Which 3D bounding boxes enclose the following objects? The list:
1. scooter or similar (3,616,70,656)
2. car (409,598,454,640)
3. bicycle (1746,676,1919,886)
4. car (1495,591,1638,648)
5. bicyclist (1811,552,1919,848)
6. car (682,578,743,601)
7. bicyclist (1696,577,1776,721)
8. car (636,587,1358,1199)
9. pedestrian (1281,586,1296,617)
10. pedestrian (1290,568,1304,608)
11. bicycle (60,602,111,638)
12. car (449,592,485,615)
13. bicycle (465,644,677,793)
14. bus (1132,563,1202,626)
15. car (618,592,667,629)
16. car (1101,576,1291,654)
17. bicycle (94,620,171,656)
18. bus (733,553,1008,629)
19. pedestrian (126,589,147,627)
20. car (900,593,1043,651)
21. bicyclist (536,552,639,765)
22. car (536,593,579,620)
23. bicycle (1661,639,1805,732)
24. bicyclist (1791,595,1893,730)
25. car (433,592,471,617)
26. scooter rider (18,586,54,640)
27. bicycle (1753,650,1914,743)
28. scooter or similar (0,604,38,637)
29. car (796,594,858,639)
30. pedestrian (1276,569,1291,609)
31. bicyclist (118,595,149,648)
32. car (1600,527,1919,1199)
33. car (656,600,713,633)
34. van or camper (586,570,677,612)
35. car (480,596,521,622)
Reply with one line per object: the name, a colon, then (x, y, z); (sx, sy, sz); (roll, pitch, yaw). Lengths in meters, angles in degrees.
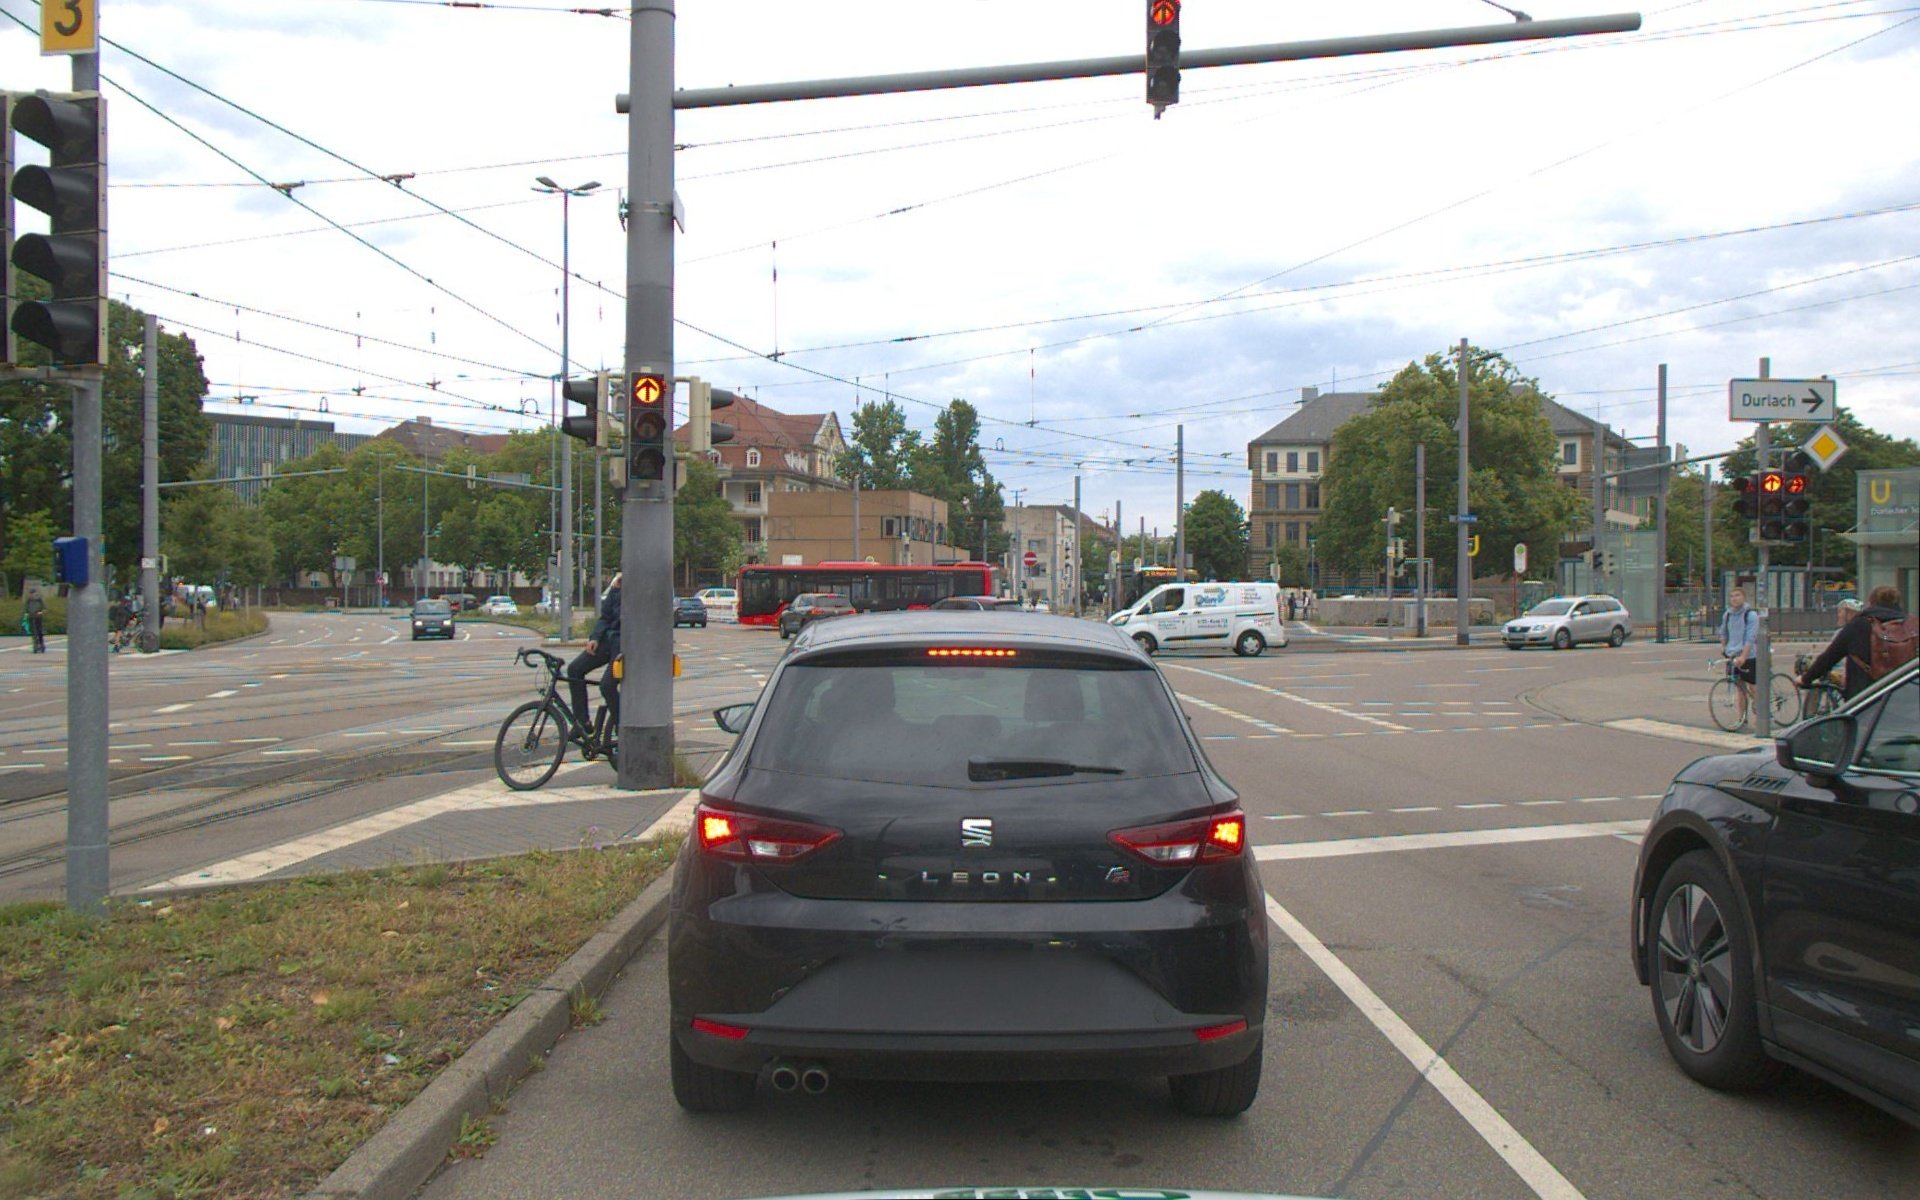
scooter or similar: (-28.506, 1.109, 51.067); (0.560, 1.185, 1.907); (0, 0, 20)
car: (-20.878, 0.733, 65.308); (1.594, 1.542, 3.644); (-1, 1, -19)
bicycle: (5.676, 1.067, 10.156); (0.612, 1.073, 2.125); (0, 1, -3)
car: (17.729, 0.544, 48.266); (4.578, 1.508, 1.704); (-2, 1, -37)
bicyclist: (5.675, 0.576, 10.014); (0.603, 1.720, 0.805); (0, 0, -3)
car: (-21.469, -0.905, 143.685); (1.967, 1.897, 4.969); (-5, -3, 45)
bicyclist: (9.893, 0.608, 21.087); (0.724, 1.782, 0.581); (-2, 1, -27)
car: (0.064, 0.716, 5.949); (1.710, 1.489, 3.999); (1, 0, -1)
pedestrian: (20.266, 0.095, 101.997); (0.806, 1.886, 1.022); (0, 0, 15)
pedestrian: (37.274, -1.340, 183.087); (1.280, 4.328, 1.346); (0, 0, 0)
bicycle: (-36.990, 0.836, 69.975); (0.829, 1.474, 2.255); (0, 0, 4)
car: (-38.886, 0.280, 130.472); (1.971, 1.780, 3.962); (0, 0, -29)
bicycle: (-3.106, 0.920, 13.293); (1.599, 1.088, 0.520); (-1, 0, -41)
bus: (11.964, -0.319, 94.460); (2.952, 3.325, 13.054); (0, 0, 12)
car: (-17.899, 0.568, 93.014); (1.966, 2.049, 3.972); (0, 0, -23)
car: (6.369, 0.401, 45.064); (4.912, 2.054, 2.000); (0, 0, 0)
bicycle: (-26.751, 1.224, 53.520); (2.082, 1.046, 0.790); (3, 0, -20)
bus: (-4.029, -0.372, 75.161); (12.074, 3.355, 3.071); (0, 0, 10)
pedestrian: (-38.375, 0.377, 77.047); (0.734, 1.764, 0.683); (-1, 0, -15)
car: (0.311, 0.631, 49.435); (4.130, 1.628, 1.853); (0, 0, 42)
bicyclist: (-3.015, 0.459, 13.377); (0.649, 1.668, 0.510); (0, 0, -40)
car: (-26.776, 0.435, 109.930); (1.969, 1.780, 3.966); (0, 0, -26)
bicycle: (9.847, 1.068, 21.043); (1.964, 1.015, 0.574); (-3, 1, -28)
bicyclist: (10.453, 0.722, 19.603); (0.871, 1.548, 0.668); (0, 0, -21)
car: (-37.891, 0.348, 123.231); (1.972, 1.803, 3.961); (0, 0, -29)
scooter rider: (-28.515, 0.396, 51.047); (0.556, 1.656, 0.822); (0, 0, 20)
bicycle: (10.331, 1.124, 19.550); (1.912, 1.016, 0.598); (0, 0, -22)
scooter or similar: (-38.477, 0.840, 67.206); (1.753, 1.325, 0.623); (-1, 0, -33)
car: (-4.919, 0.585, 60.769); (1.957, 1.593, 4.196); (0, 0, -9)
pedestrian: (35.794, -1.227, 183.189); (1.358, 4.328, 1.346); (0, 0, 0)
bicyclist: (-26.736, 0.677, 53.517); (0.801, 1.685, 0.789); (0, 1, -20)
car: (3.328, 0.657, 3.780); (1.865, 1.687, 4.513); (0, 0, -2)
car: (-13.640, 0.805, 81.765); (1.966, 1.566, 3.972); (0, 0, -23)
van or camper: (-27.333, -0.745, 137.889); (2.828, 3.390, 7.102); (-2, -1, 44)
car: (-30.666, 0.573, 110.400); (1.969, 1.668, 3.966); (0, 0, -26)
